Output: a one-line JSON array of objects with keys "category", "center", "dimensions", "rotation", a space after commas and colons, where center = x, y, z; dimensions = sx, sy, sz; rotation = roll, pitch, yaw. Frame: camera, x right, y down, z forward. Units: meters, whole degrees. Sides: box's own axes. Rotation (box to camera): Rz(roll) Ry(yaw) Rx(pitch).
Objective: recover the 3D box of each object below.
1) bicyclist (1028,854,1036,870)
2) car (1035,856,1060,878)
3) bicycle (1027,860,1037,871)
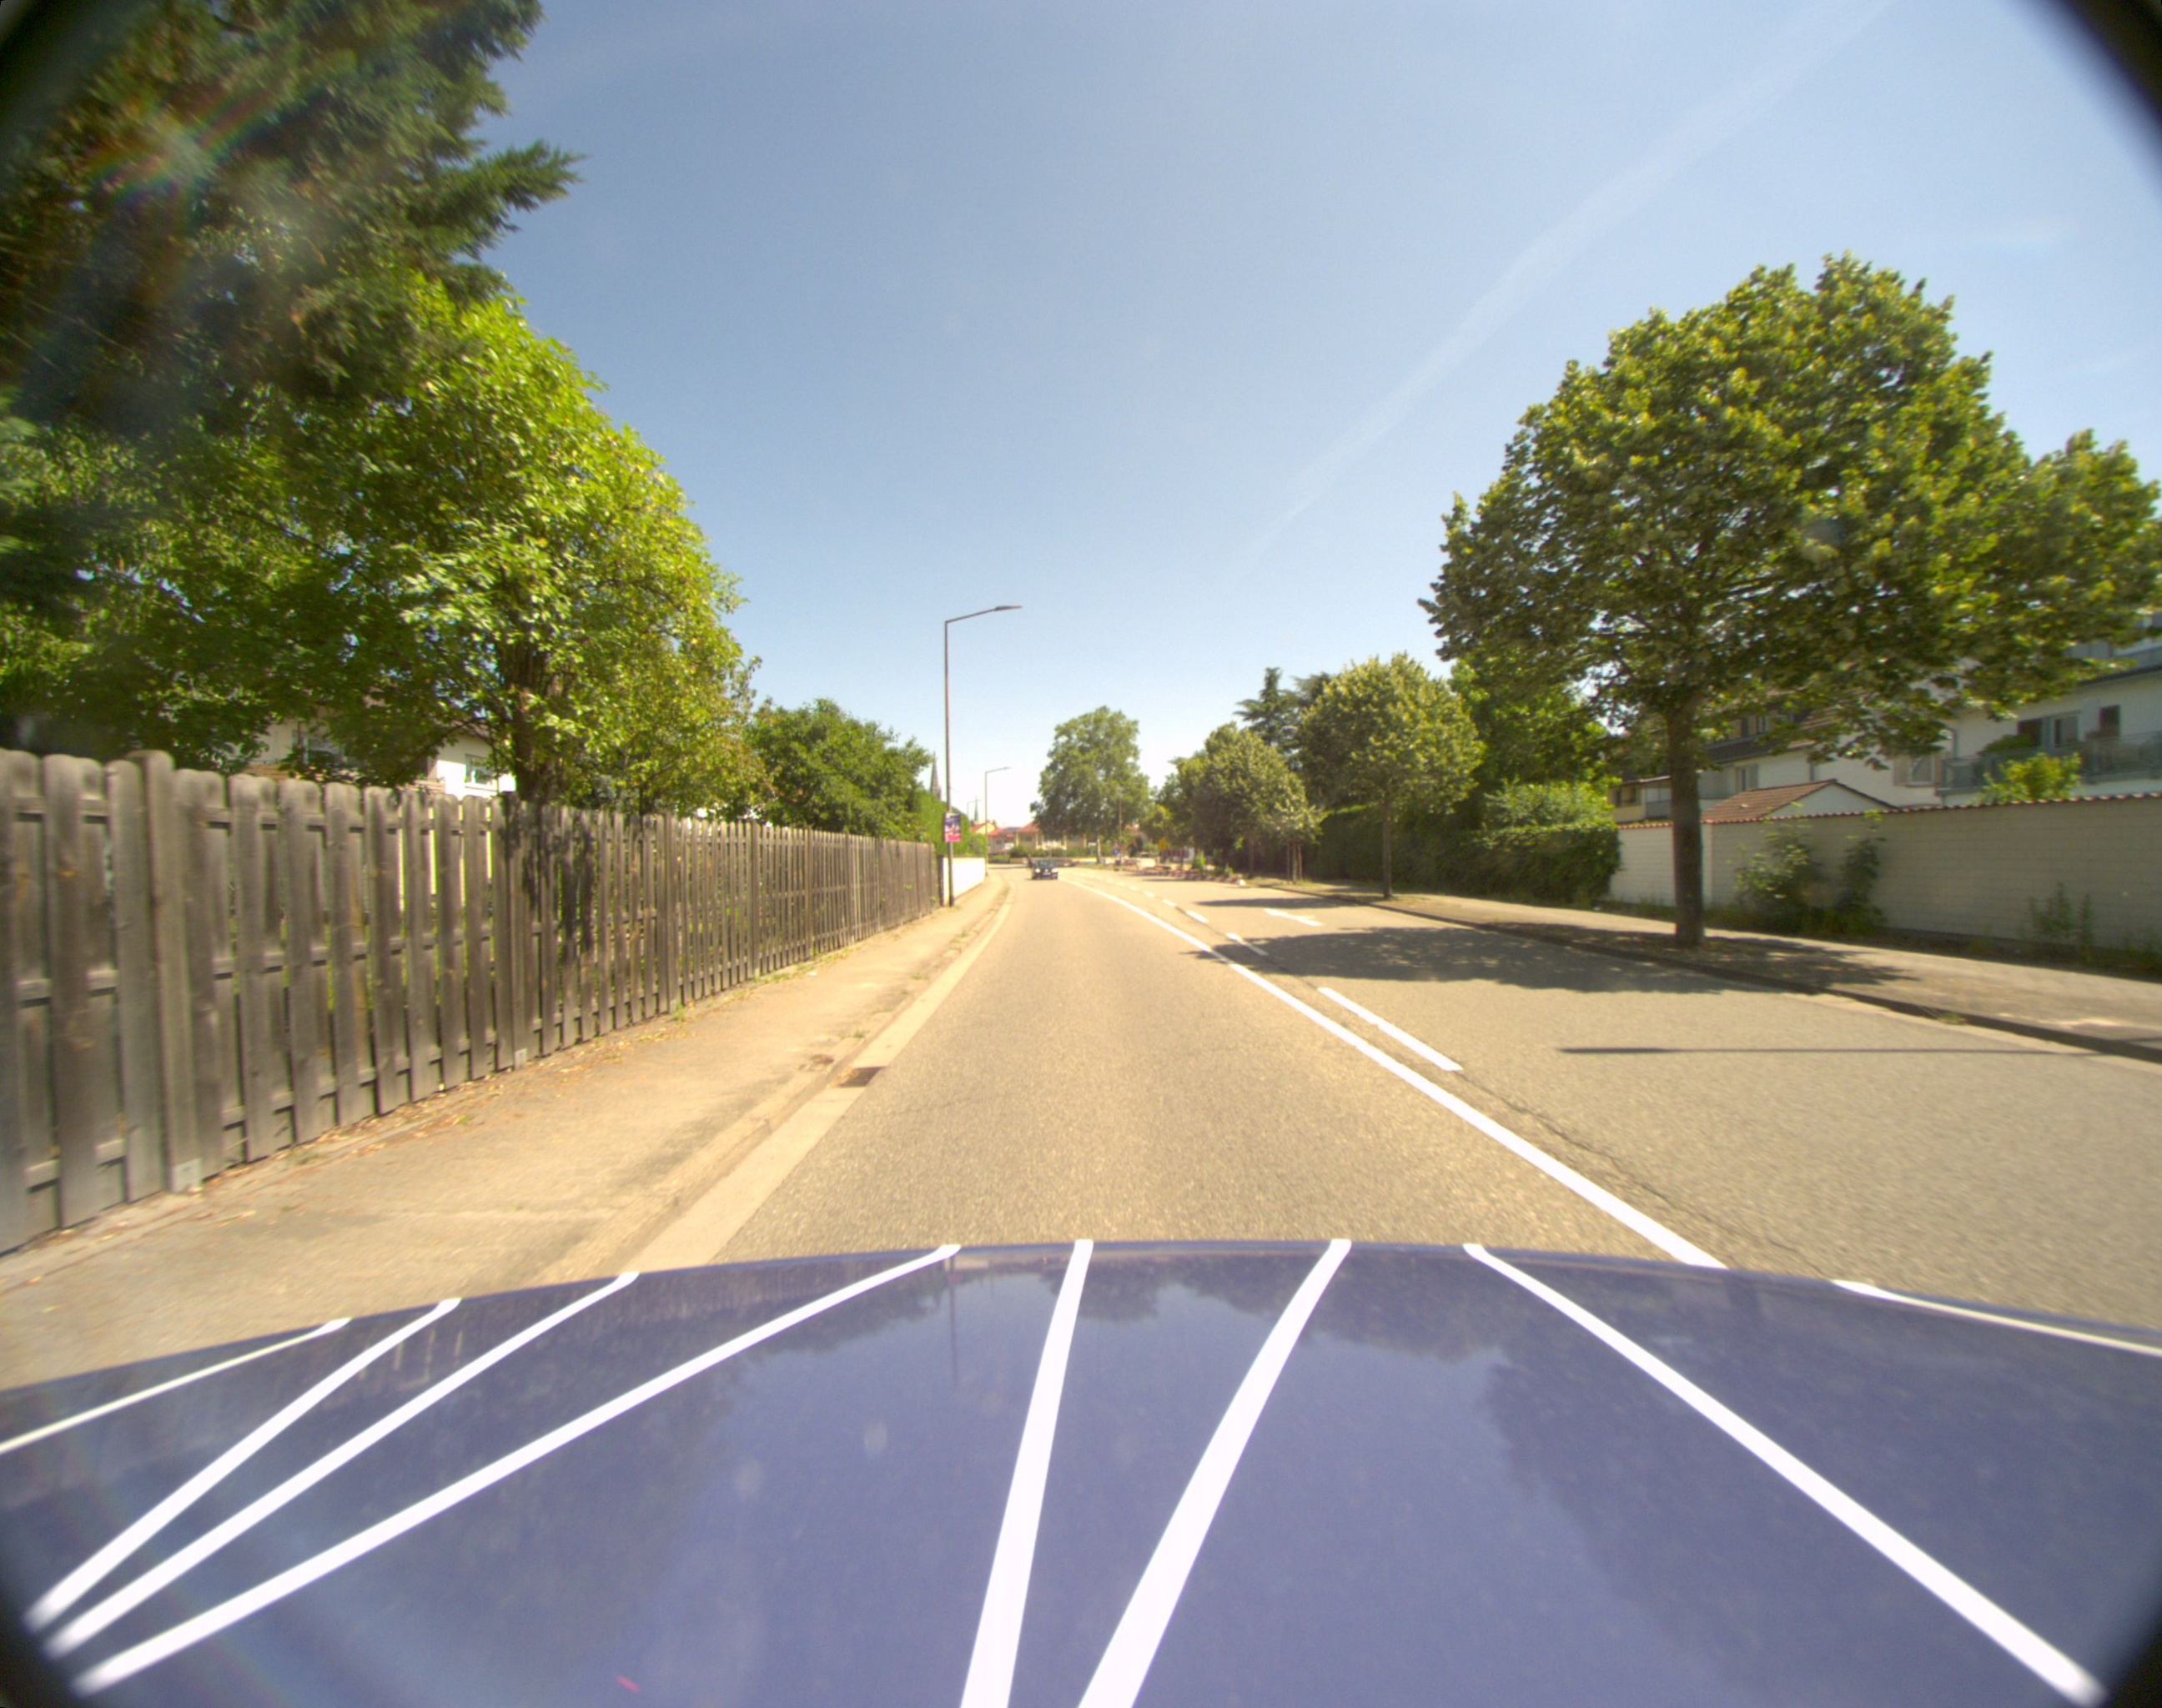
[{"category": "bicyclist", "center": [-5.556, 0.908, 86.008], "dimensions": [0.849, 1.854, 0.975], "rotation": [0, 1, -11]}, {"category": "car", "center": [-2.403, 0.905, 53.897], "dimensions": [1.608, 1.436, 3.908], "rotation": [-1, 0, -4]}, {"category": "bicycle", "center": [-5.557, 1.274, 86.045], "dimensions": [0.853, 1.159, 1.975], "rotation": [0, 0, -10]}]
